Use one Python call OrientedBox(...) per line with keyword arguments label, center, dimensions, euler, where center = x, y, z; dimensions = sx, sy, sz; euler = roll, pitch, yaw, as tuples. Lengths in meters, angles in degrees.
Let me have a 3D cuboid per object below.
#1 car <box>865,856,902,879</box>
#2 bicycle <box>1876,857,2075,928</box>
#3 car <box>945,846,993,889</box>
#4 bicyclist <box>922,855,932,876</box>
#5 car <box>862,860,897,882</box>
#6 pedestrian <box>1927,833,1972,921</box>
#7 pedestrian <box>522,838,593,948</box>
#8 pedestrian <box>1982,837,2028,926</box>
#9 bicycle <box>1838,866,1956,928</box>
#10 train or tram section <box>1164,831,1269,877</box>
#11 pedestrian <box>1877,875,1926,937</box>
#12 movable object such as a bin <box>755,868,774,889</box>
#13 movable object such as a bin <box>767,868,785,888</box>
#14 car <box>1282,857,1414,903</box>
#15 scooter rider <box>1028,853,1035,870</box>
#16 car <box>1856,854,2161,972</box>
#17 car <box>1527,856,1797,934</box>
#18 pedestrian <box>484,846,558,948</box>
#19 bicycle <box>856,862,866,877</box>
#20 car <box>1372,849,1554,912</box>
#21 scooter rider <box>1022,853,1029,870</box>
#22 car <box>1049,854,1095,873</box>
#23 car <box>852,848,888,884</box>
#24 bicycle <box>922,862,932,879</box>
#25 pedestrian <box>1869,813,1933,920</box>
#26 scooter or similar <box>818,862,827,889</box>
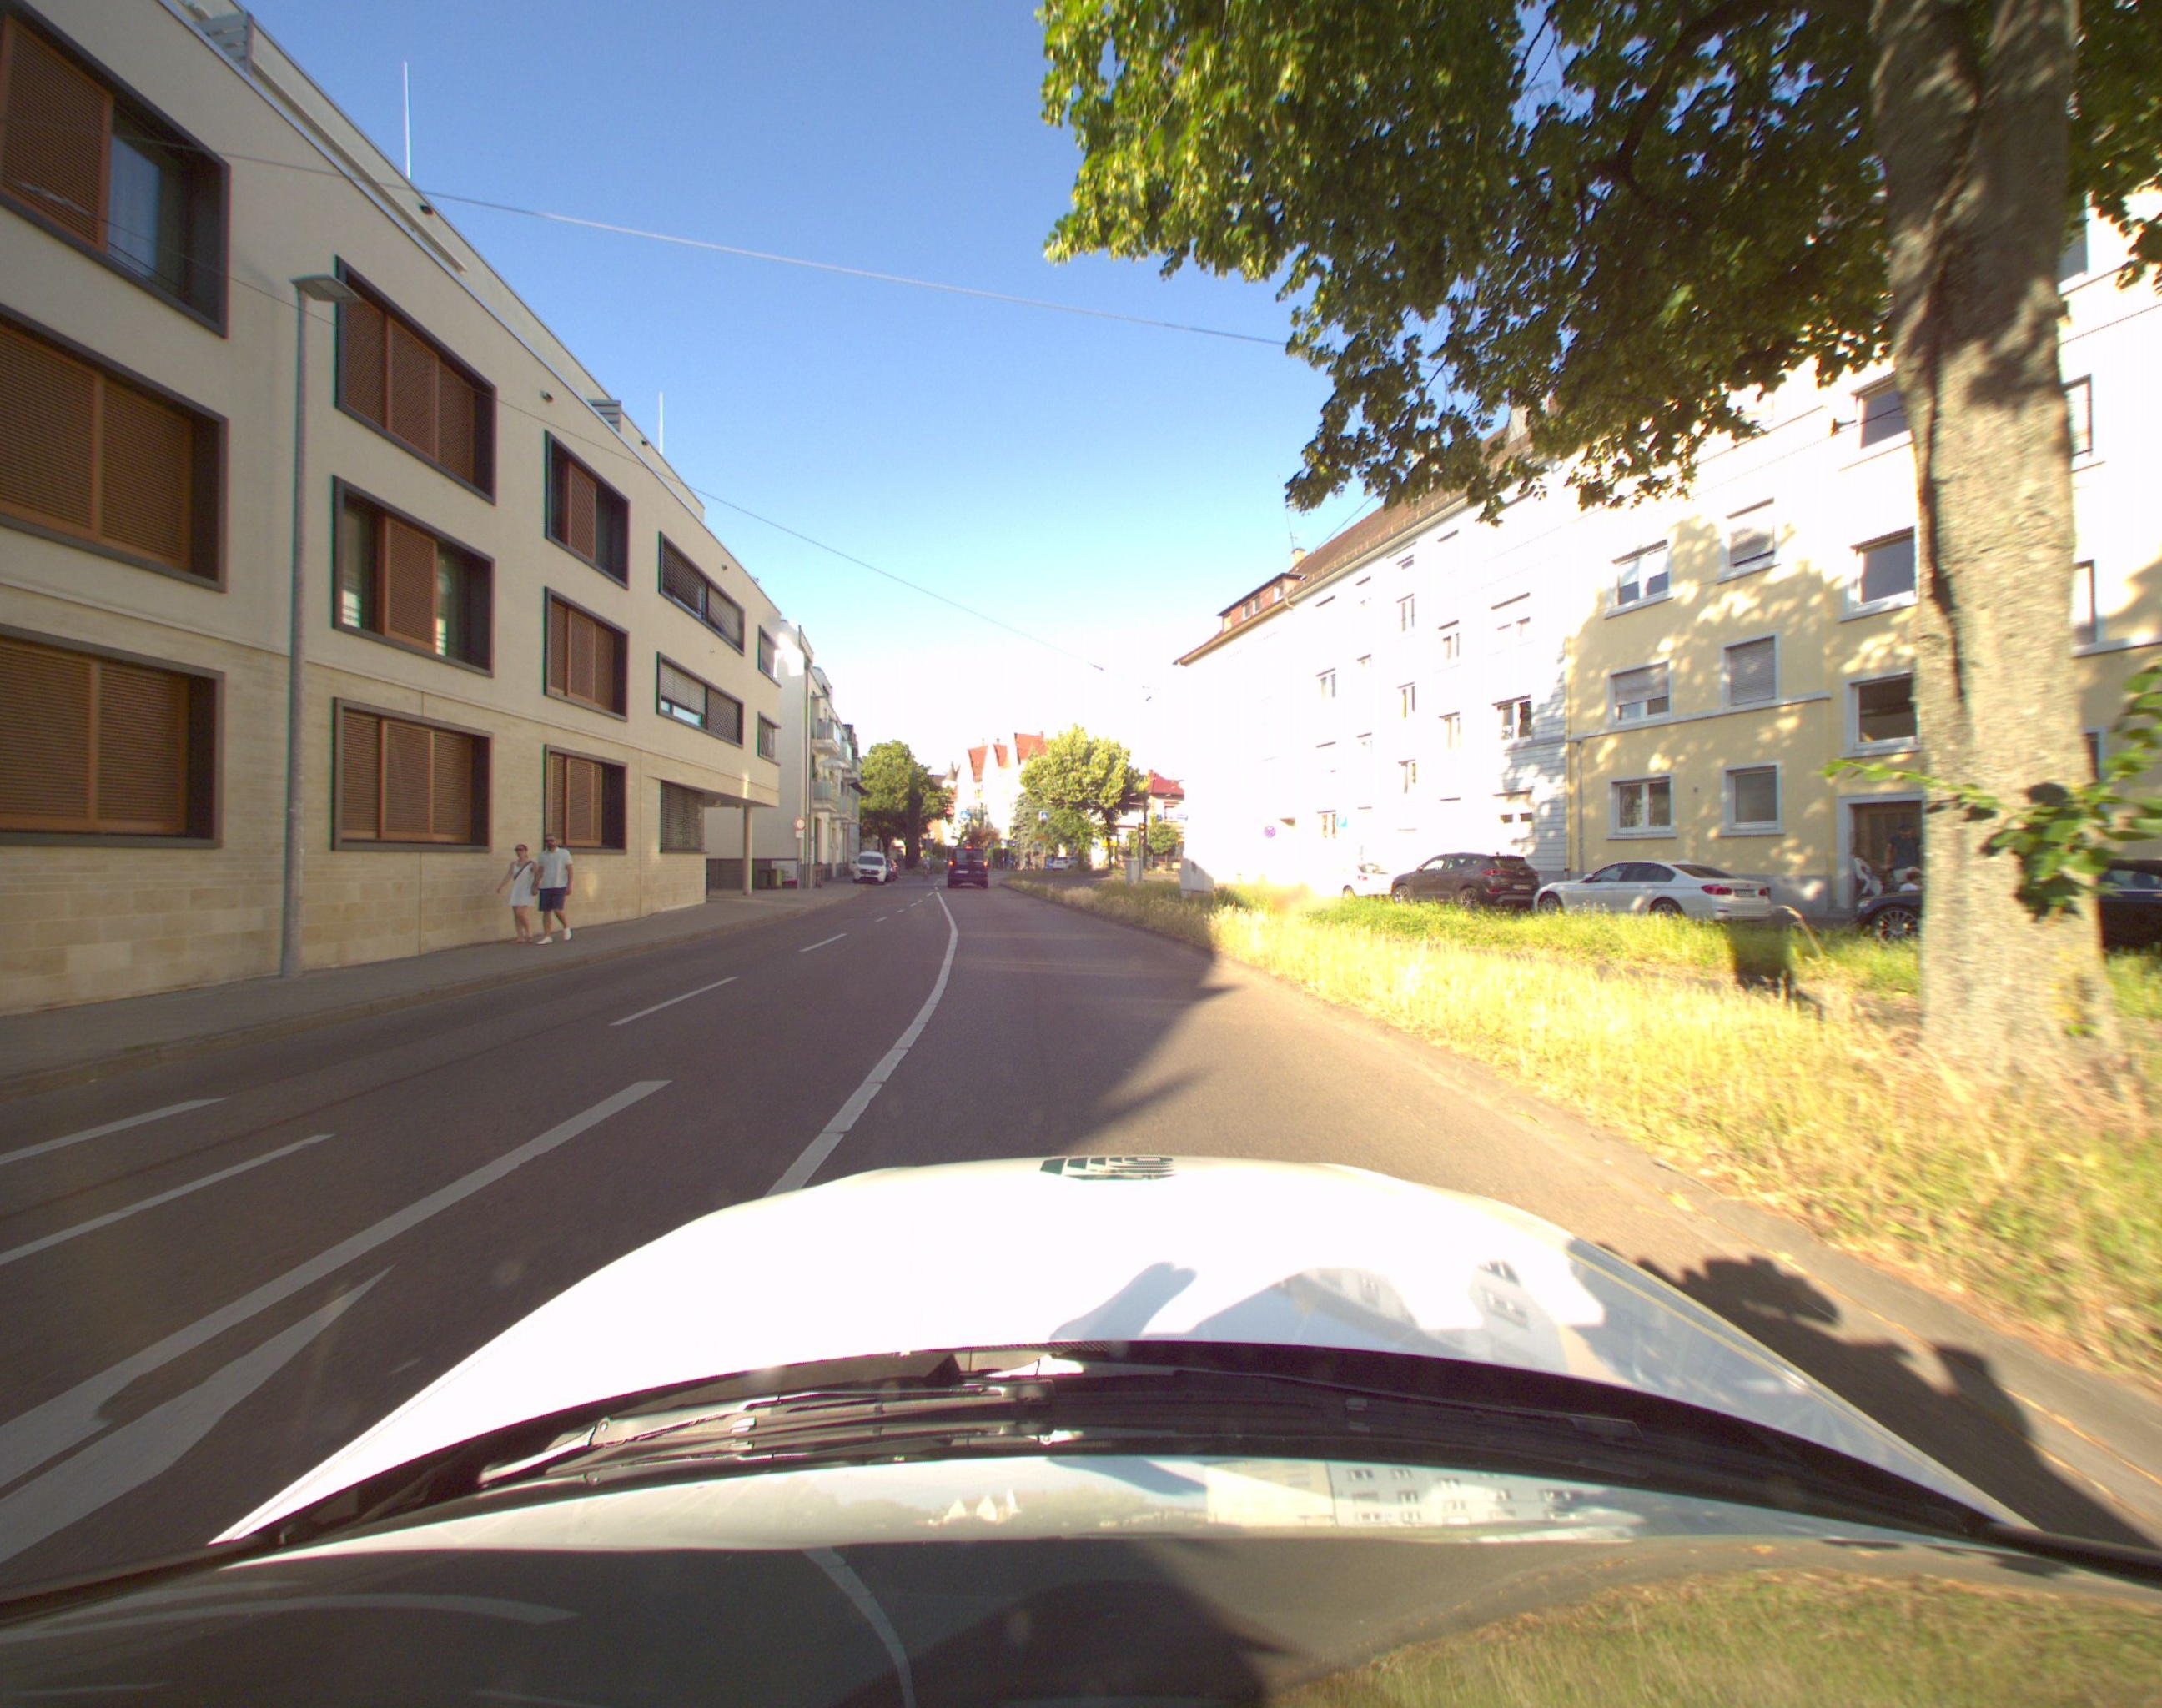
OrientedBox(label="car", center=(-13.729, 0.890, 56.791), dimensions=(1.705, 1.466, 4.586), euler=(2, 0, -3))
OrientedBox(label="bicycle", center=(15.381, 0.634, 14.116), dimensions=(0.536, 1.131, 2.294), euler=(-1, -1, -18))
OrientedBox(label="car", center=(-5.534, 0.640, 40.728), dimensions=(1.989, 2.013, 3.996), euler=(0, 0, -3))
OrientedBox(label="bicyclist", center=(-10.155, 0.740, 53.749), dimensions=(0.622, 1.380, 0.798), euler=(-1, -1, -11))
OrientedBox(label="car", center=(-12.532, 1.063, 50.860), dimensions=(1.663, 1.273, 4.014), euler=(2, -1, -8))
OrientedBox(label="pedestrian", center=(15.283, 0.397, 14.334), dimensions=(0.333, 1.515, 0.440), euler=(-1, 0, -22))
OrientedBox(label="pedestrian", center=(-9.109, 0.671, 14.214), dimensions=(0.604, 1.849, 0.991), euler=(1, -1, -4))
OrientedBox(label="pedestrian", center=(16.121, 0.466, 14.209), dimensions=(0.306, 1.515, 0.439), euler=(-1, 0, -25))
OrientedBox(label="bicycle", center=(15.753, 0.805, 15.763), dimensions=(0.536, 1.131, 1.506), euler=(-1, -1, -18))
OrientedBox(label="train or tram section", center=(11.519, 0.003, 68.263), dimensions=(9.968, 3.555, 2.752), euler=(0, 0, -39))
OrientedBox(label="pedestrian", center=(14.501, 0.903, 14.397), dimensions=(0.432, 1.065, 0.458), euler=(0, -1, -17))
OrientedBox(label="movable object such as a bin", center=(-14.062, 1.095, 36.173), dimensions=(0.544, 0.901, 0.532), euler=(0, -1, 12))
OrientedBox(label="movable object such as a bin", center=(-13.509, 1.062, 36.056), dimensions=(0.544, 0.901, 0.532), euler=(0, -1, 12))
OrientedBox(label="car", center=(9.013, 0.812, 27.906), dimensions=(2.001, 1.386, 4.415), euler=(-1, 0, -21))
OrientedBox(label="scooter rider", center=(-4.764, 0.716, 79.055), dimensions=(0.604, 1.672, 0.655), euler=(-1, 0, 0))
OrientedBox(label="car", center=(13.829, 0.721, 11.033), dimensions=(1.999, 1.386, 4.419), euler=(-1, 0, -18))
OrientedBox(label="car", center=(12.164, 0.763, 17.471), dimensions=(1.999, 1.386, 4.419), euler=(-1, 0, -18))
OrientedBox(label="pedestrian", center=(-9.738, 0.737, 14.196), dimensions=(0.701, 1.714, 0.841), euler=(1, -1, -4))
OrientedBox(label="bicycle", center=(-16.903, 1.198, 62.464), dimensions=(0.579, 1.109, 1.858), euler=(1, -1, -20))
OrientedBox(label="car", center=(10.539, 0.695, 22.904), dimensions=(1.999, 1.572, 4.613), euler=(-1, -1, -18))
OrientedBox(label="scooter rider", center=(-5.385, 0.753, 79.034), dimensions=(0.604, 1.672, 0.655), euler=(-1, 0, 0))
OrientedBox(label="car", center=(-0.737, 0.830, 71.774), dimensions=(3.706, 1.505, 1.941), euler=(-1, 0, -44))
OrientedBox(label="car", center=(-11.846, 0.689, 46.006), dimensions=(1.813, 1.870, 4.312), euler=(2, -1, -13))
OrientedBox(label="bicycle", center=(-10.140, 1.062, 53.696), dimensions=(0.622, 1.081, 1.777), euler=(-1, -1, -10))
OrientedBox(label="pedestrian", center=(15.847, 0.242, 15.740), dimensions=(0.613, 2.014, 0.645), euler=(0, -1, -18))
OrientedBox(label="scooter or similar", center=(-12.173, 1.013, 38.306), dimensions=(0.225, 1.220, 1.145), euler=(1, 0, -25))
